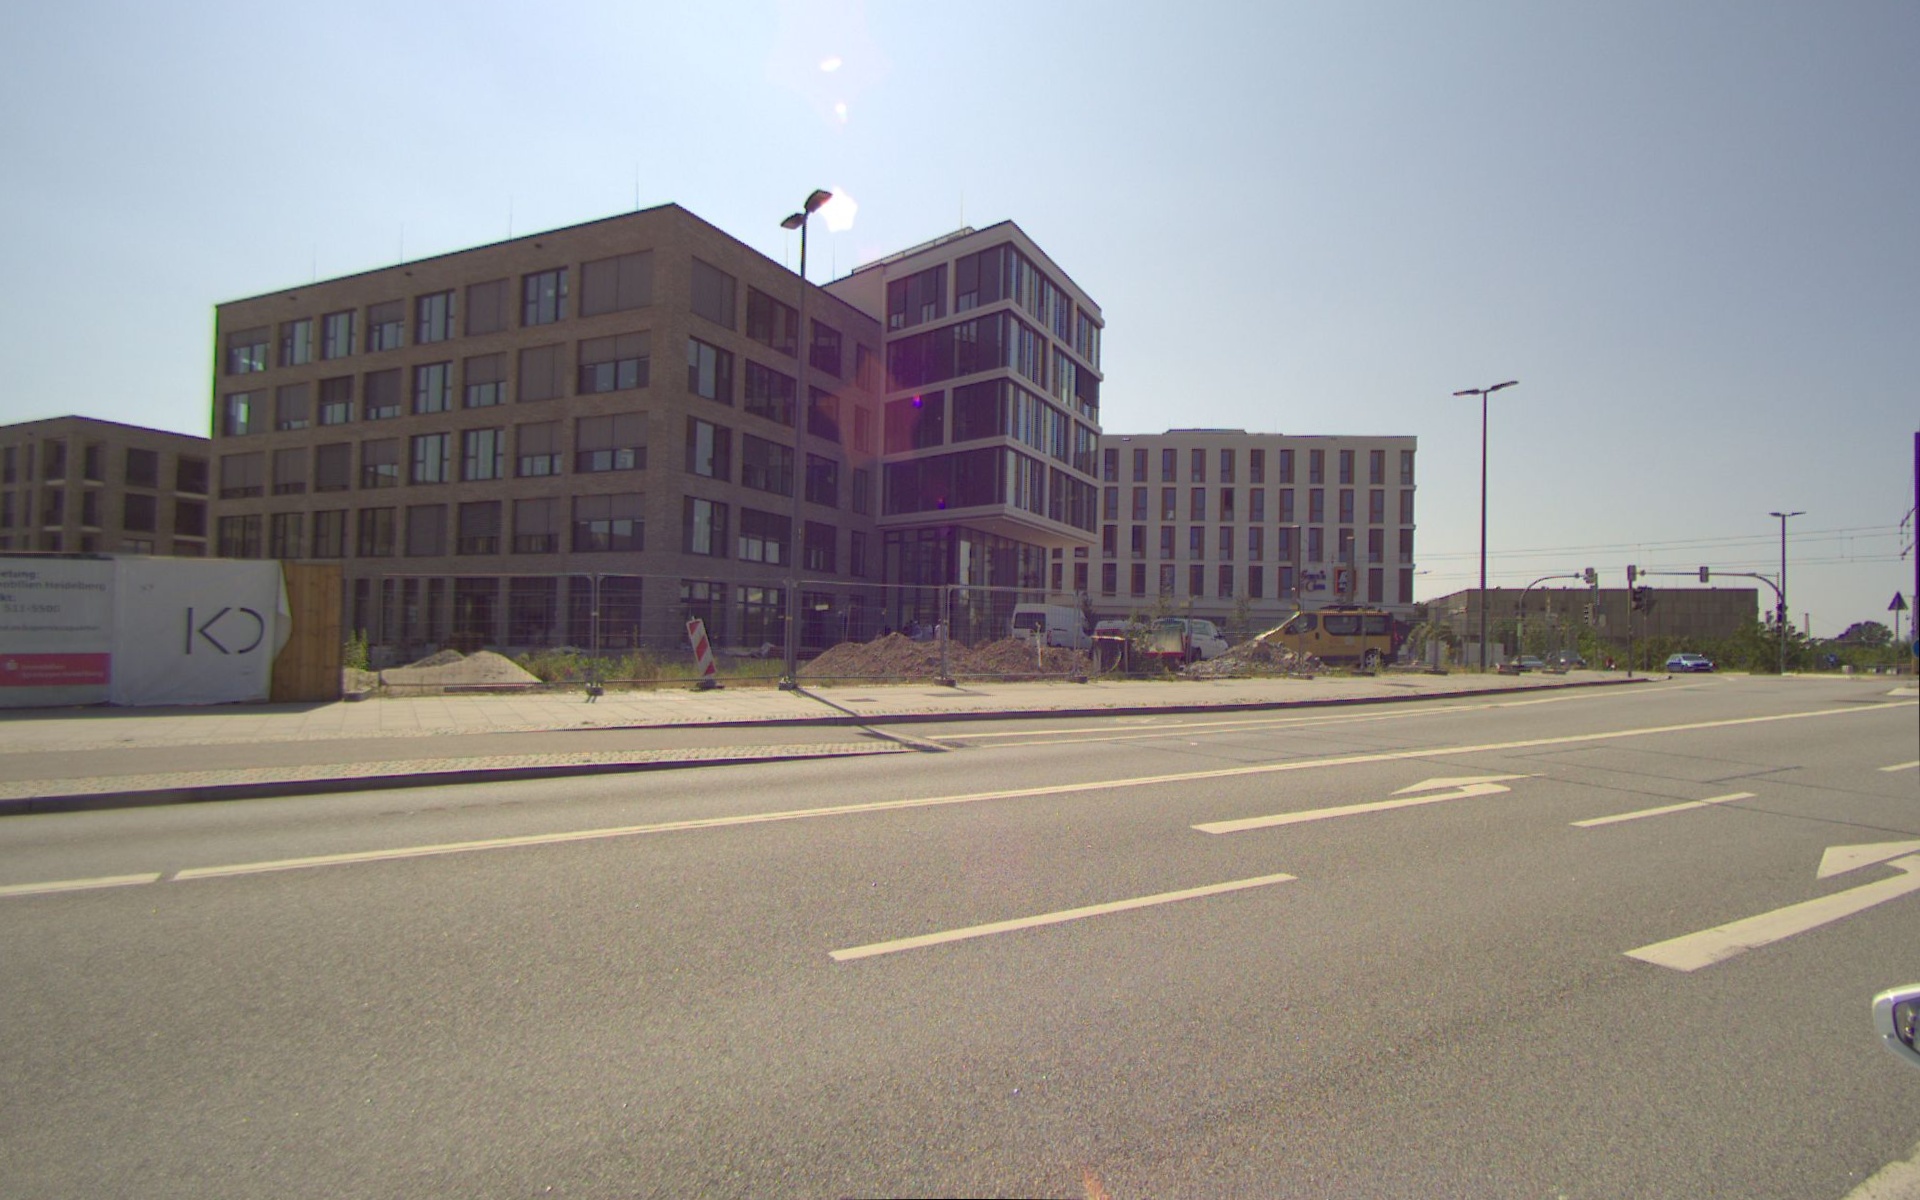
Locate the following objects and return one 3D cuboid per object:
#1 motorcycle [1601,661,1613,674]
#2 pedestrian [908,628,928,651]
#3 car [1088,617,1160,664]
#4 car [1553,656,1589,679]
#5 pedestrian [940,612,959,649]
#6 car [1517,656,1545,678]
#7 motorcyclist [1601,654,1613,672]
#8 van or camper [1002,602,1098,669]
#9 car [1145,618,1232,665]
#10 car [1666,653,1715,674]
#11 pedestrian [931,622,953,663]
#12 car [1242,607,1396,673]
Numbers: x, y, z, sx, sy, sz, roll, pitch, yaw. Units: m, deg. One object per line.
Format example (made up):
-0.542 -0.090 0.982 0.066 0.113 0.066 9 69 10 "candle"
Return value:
55.378 5.788 85.936 0.511 0.967 1.933 2 0 23 "motorcycle"
-1.959 1.871 47.341 0.734 1.041 0.699 2 0 16 "pedestrian"
7.172 1.736 43.553 1.759 1.881 3.843 2 0 31 "car"
44.433 4.867 73.074 1.646 1.496 3.405 0 -1 22 "car"
-0.516 1.489 49.224 0.734 1.741 0.699 2 0 16 "pedestrian"
46.459 5.424 81.812 1.541 1.608 3.477 2 0 23 "car"
55.375 5.412 85.997 0.739 1.514 0.677 2 0 23 "motorcyclist"
4.111 1.554 45.056 2.273 2.772 4.975 2 0 32 "van or camper"
9.646 1.692 42.172 1.841 1.797 4.637 2 0 36 "car"
52.257 4.537 71.889 1.787 1.348 4.000 2 -2 20 "car"
-0.774 1.853 44.007 0.734 1.741 0.699 2 0 16 "pedestrian"
11.970 1.296 33.742 4.533 1.988 1.991 2 0 9 "car"
